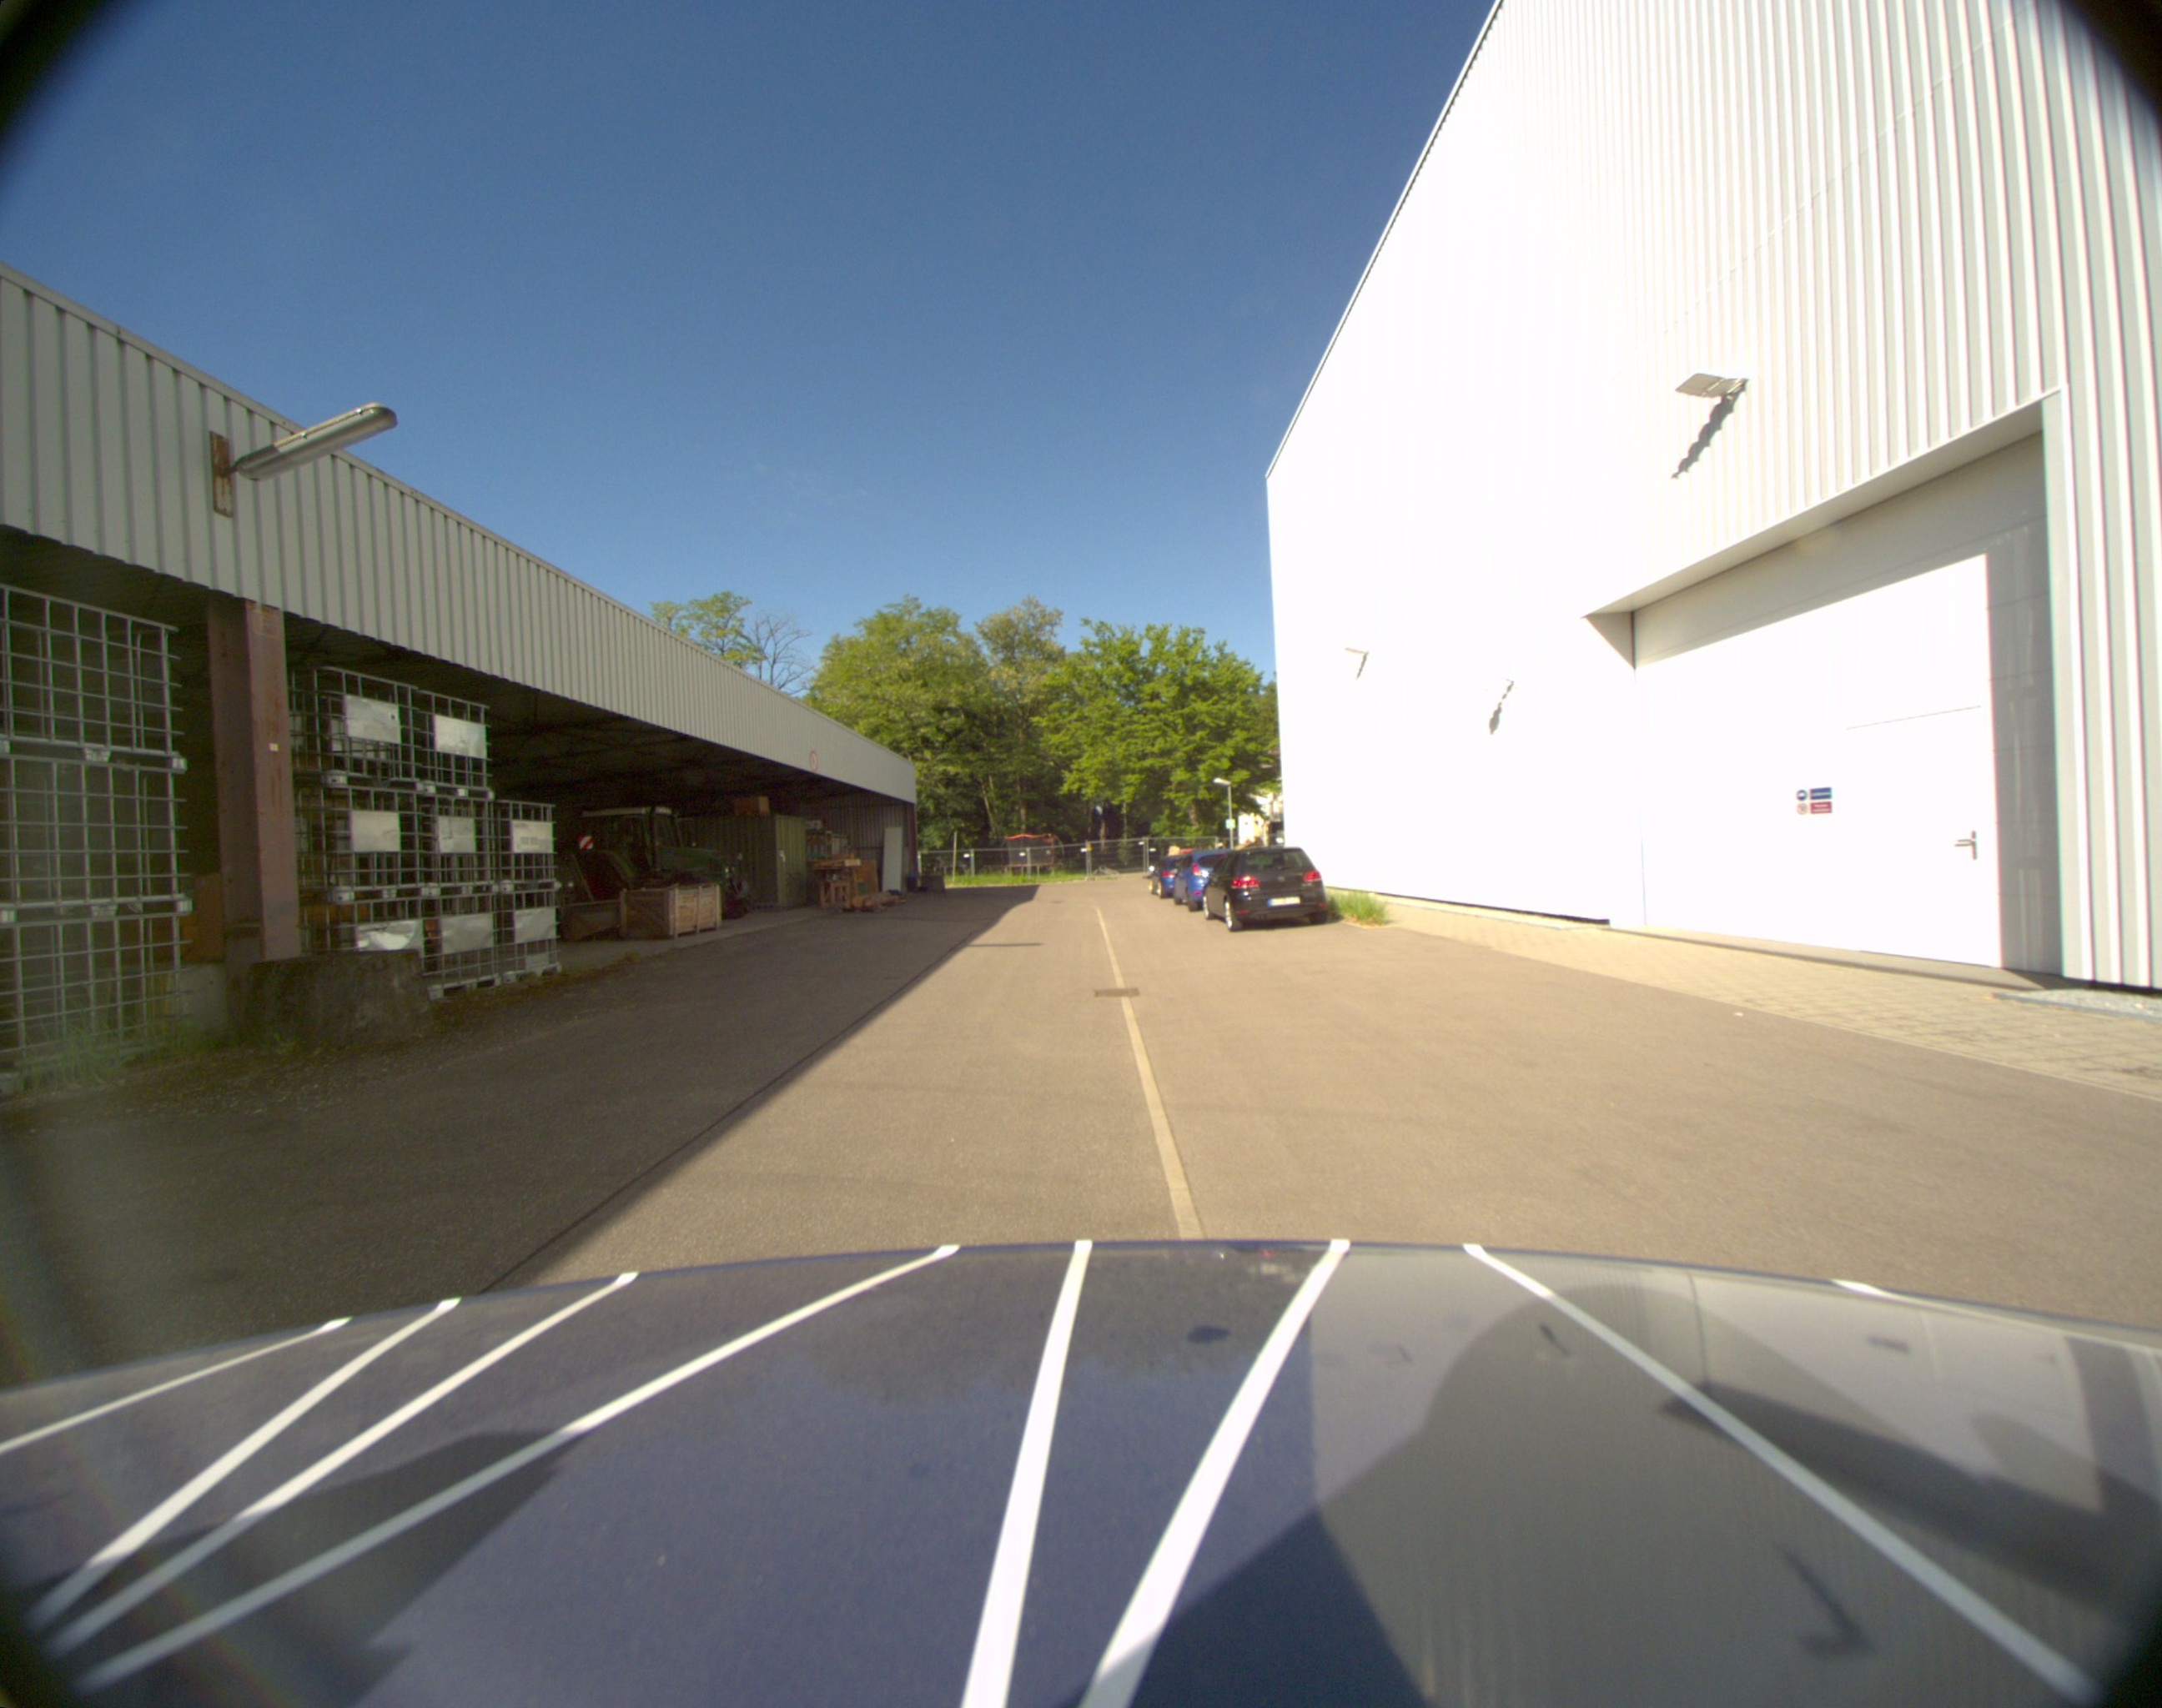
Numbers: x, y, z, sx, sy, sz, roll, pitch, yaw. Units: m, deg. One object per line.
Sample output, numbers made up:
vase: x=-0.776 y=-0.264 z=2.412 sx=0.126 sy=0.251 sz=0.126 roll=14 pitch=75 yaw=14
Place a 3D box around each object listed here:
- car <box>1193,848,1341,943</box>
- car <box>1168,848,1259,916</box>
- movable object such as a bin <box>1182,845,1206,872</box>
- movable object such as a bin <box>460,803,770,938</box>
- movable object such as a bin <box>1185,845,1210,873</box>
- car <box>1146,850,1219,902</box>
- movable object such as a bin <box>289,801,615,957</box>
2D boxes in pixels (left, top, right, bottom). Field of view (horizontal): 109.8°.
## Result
car: x=3.420 y=0.701 z=14.834 sx=1.760 sy=1.437 sz=4.315 roll=-5 pitch=0 yaw=1
car: x=3.303 y=0.675 z=19.579 sx=1.552 sy=1.480 sz=3.522 roll=-4 pitch=0 yaw=-1
movable object such as a bin: x=6.252 y=0.266 z=42.188 sx=1.141 sy=1.469 sz=1.280 roll=-1 pitch=0 yaw=1
movable object such as a bin: x=-11.305 y=0.381 z=18.890 sx=5.848 sy=2.908 sz=2.820 roll=-2 pitch=1 yaw=1
movable object such as a bin: x=6.229 y=0.268 z=40.825 sx=1.141 sy=1.426 sz=1.289 roll=-1 pitch=0 yaw=1
car: x=3.273 y=0.678 z=25.090 sx=1.716 sy=1.440 sz=3.798 roll=-4 pitch=0 yaw=-1
movable object such as a bin: x=-12.669 y=0.485 z=15.623 sx=4.537 sy=2.814 sz=2.497 roll=-2 pitch=0 yaw=1
